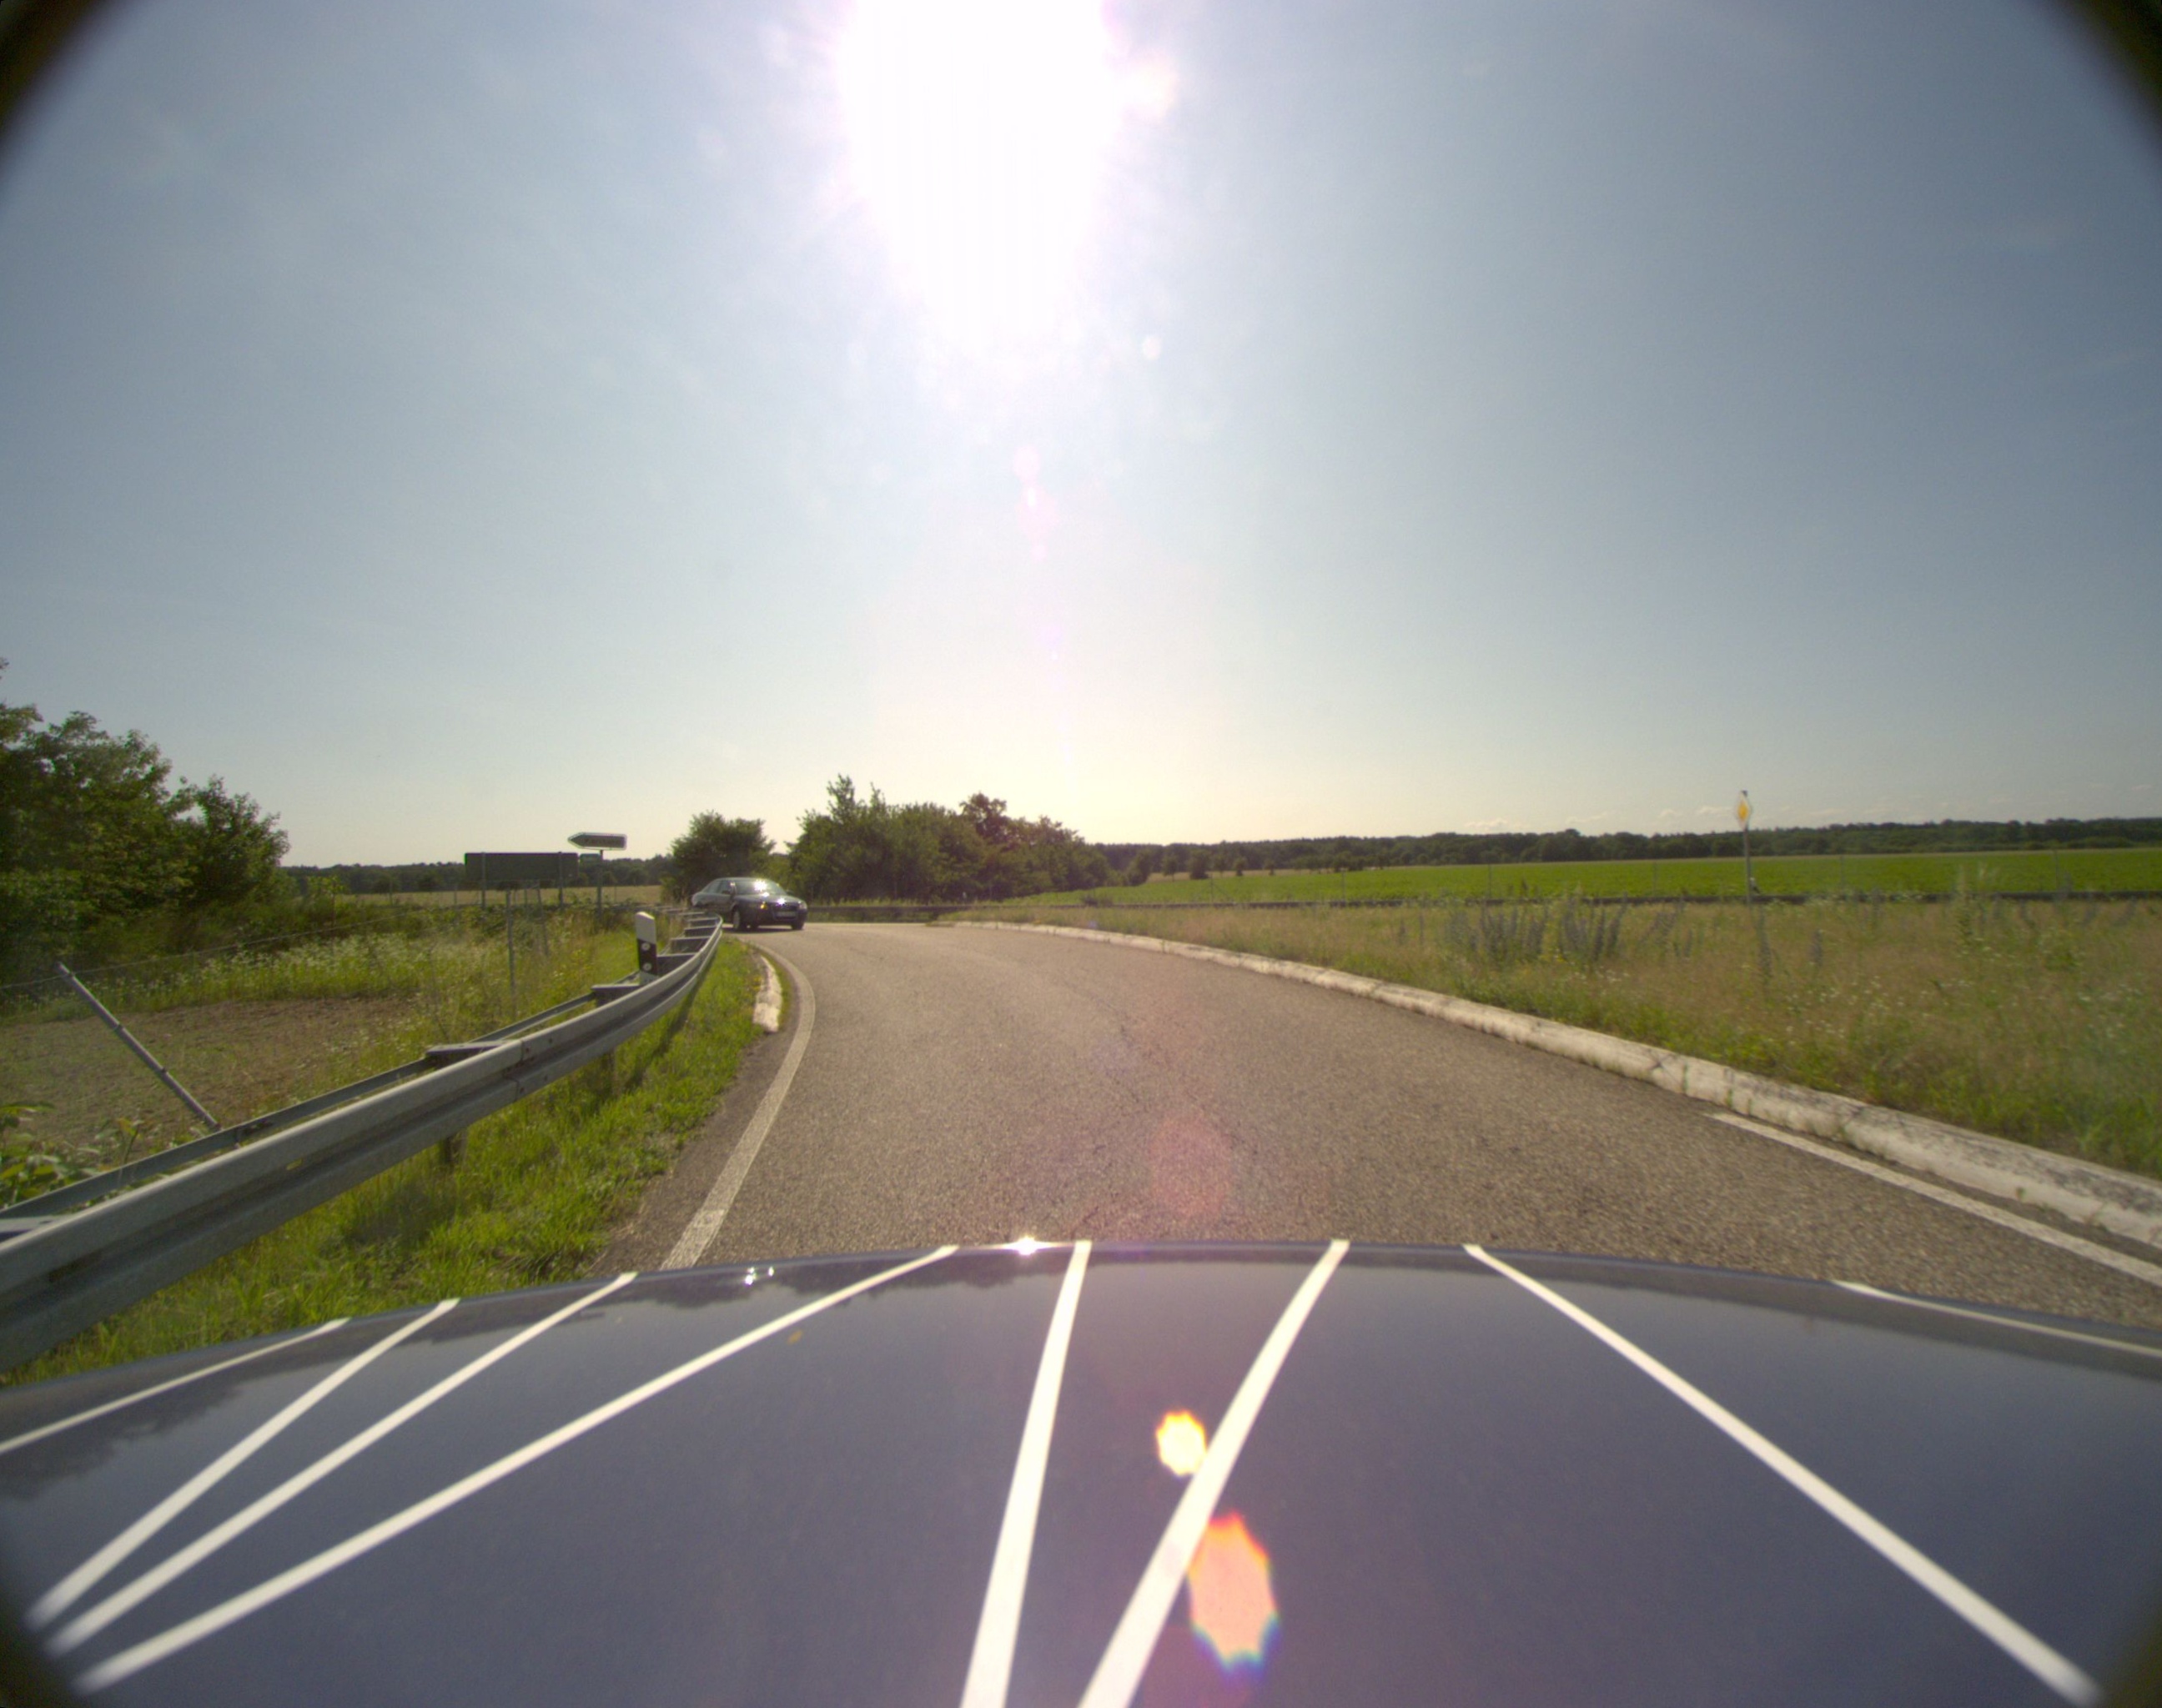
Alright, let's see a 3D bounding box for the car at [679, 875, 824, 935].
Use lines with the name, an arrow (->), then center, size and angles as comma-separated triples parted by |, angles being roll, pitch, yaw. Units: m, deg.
car -> -8.937, 1.373, 20.482 | 4.064, 1.447, 1.893 | -3, -5, 39
